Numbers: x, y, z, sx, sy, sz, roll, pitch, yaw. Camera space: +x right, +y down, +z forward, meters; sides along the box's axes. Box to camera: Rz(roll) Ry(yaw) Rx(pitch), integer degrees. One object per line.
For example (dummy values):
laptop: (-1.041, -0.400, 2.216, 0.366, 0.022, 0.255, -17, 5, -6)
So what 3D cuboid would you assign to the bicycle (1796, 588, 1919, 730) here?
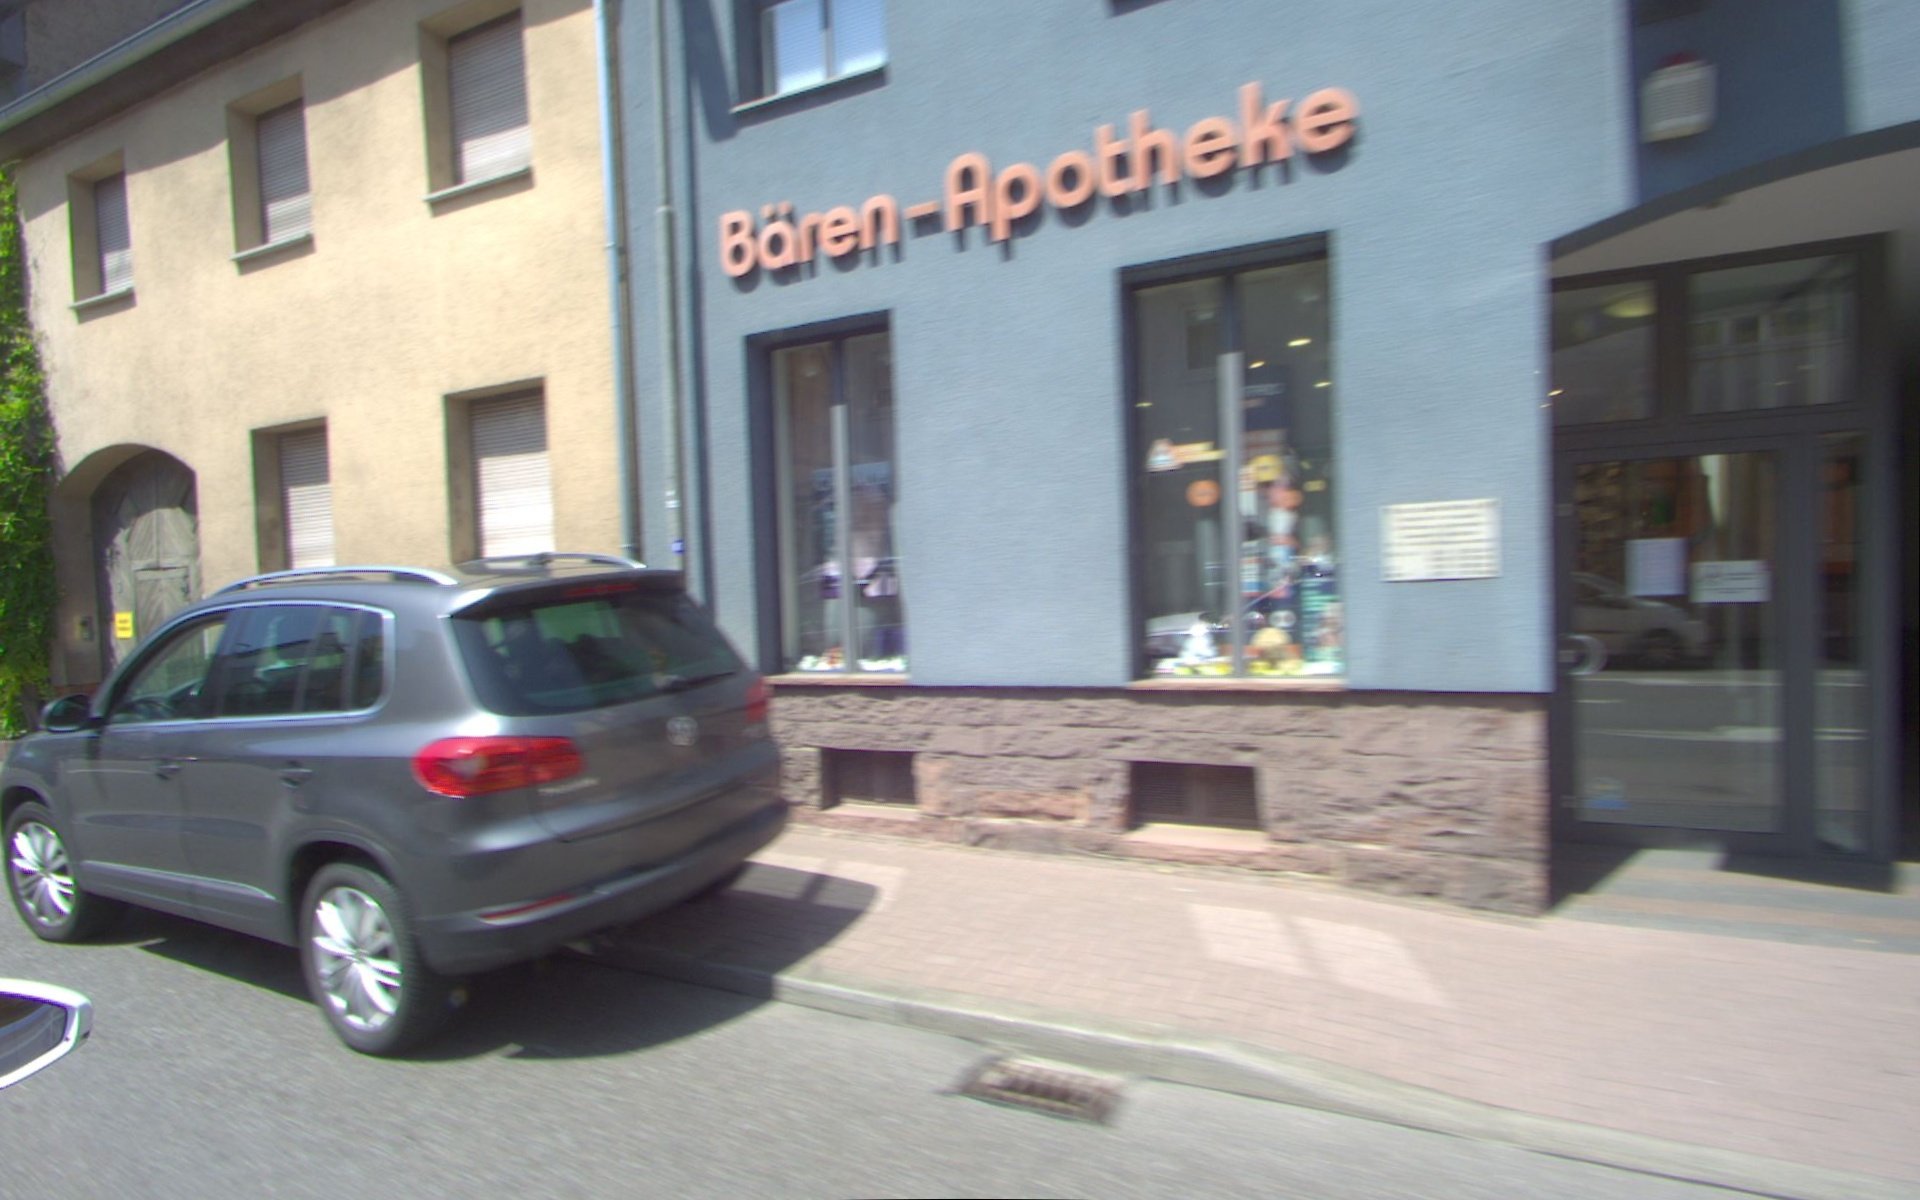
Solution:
bicycle: (8.358, 0.480, 9.264, 0.506, 1.080, 2.060, 0, 3, 27)

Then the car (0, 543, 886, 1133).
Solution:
car: (-2.610, 0.688, 4.779, 4.039, 1.732, 1.990, -1, 3, 29)
